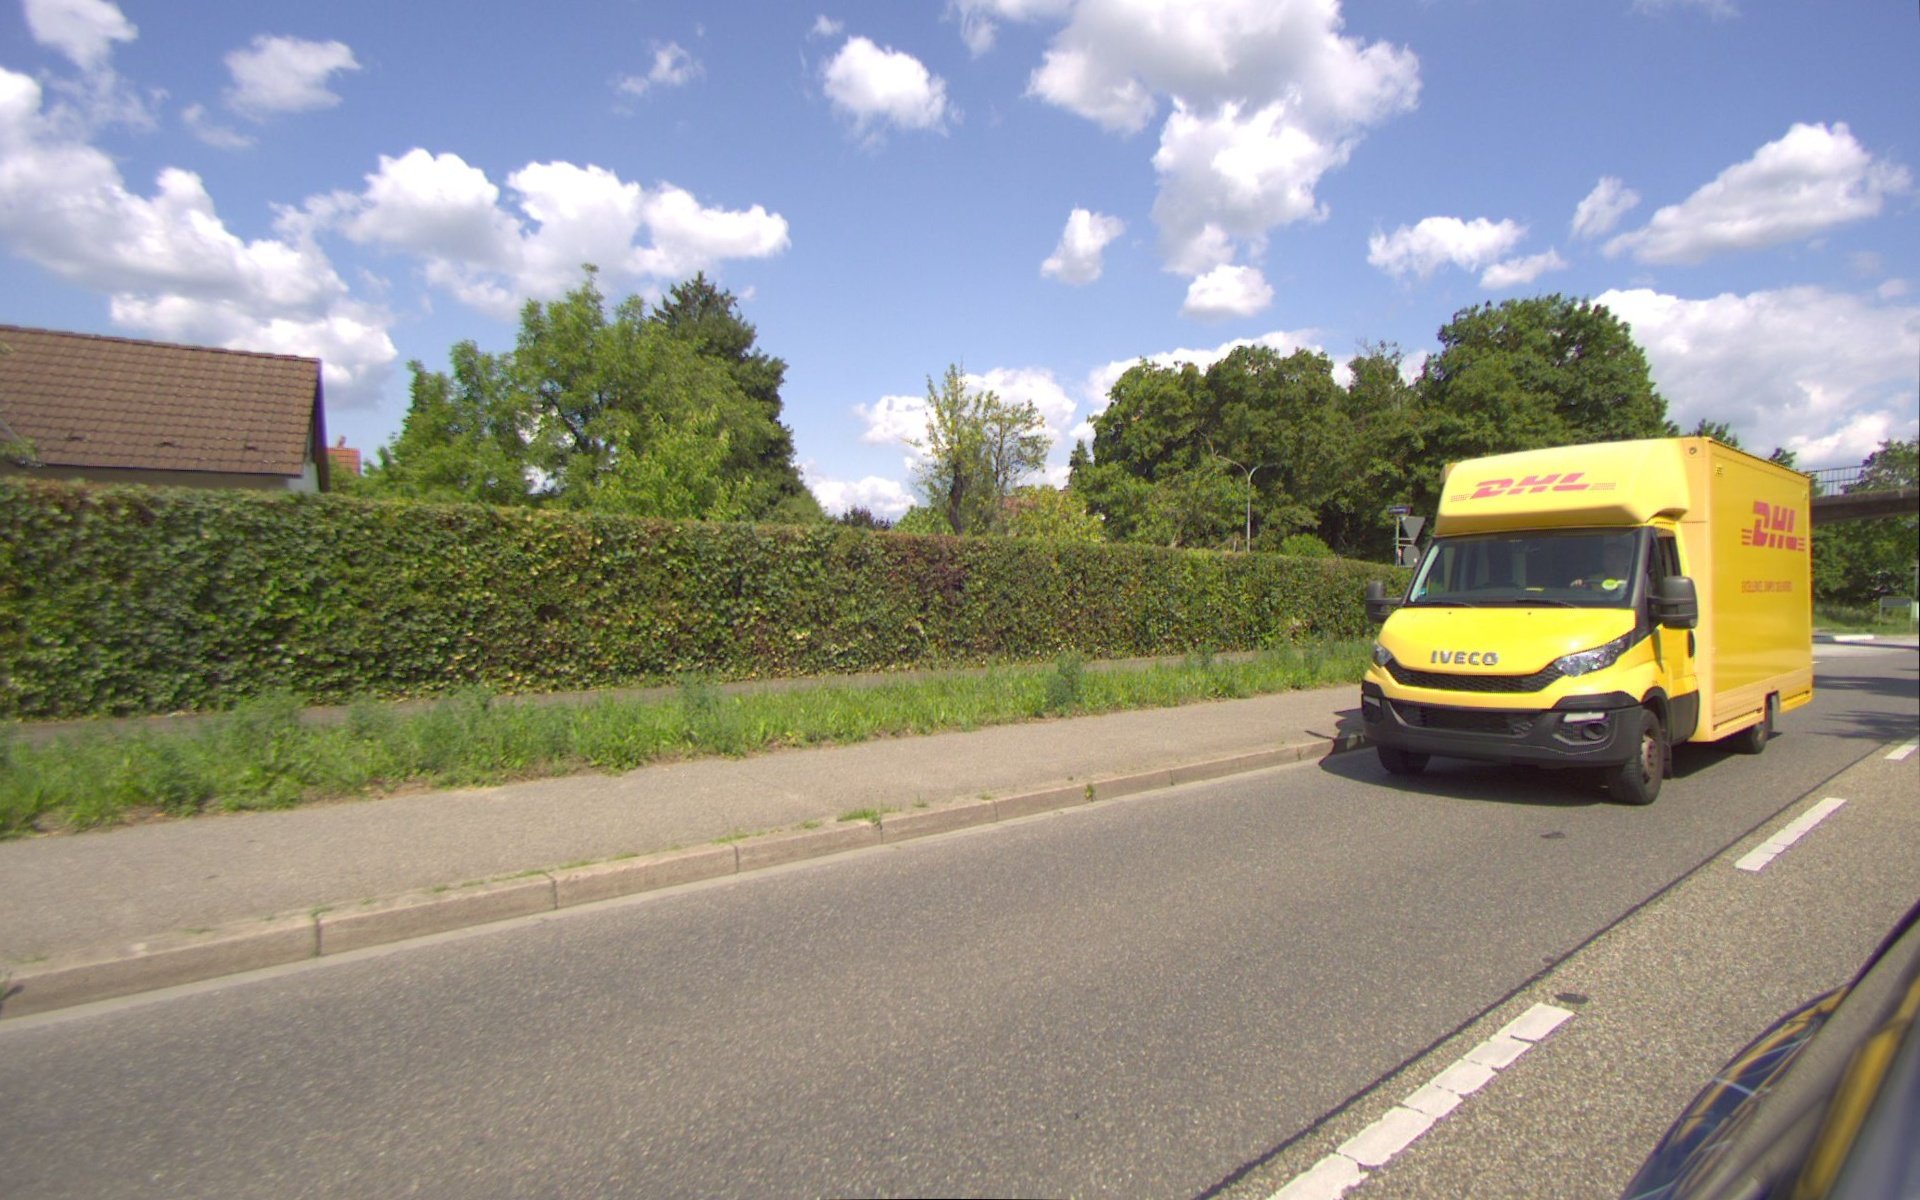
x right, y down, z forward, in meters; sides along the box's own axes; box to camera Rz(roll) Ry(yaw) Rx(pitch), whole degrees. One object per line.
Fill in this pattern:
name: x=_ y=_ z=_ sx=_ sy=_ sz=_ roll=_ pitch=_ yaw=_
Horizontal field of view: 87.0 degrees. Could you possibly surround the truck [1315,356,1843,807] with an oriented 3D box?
truck: x=6.585 y=-0.080 z=10.024 sx=7.888 sy=2.917 sz=2.268 roll=1 pitch=-1 yaw=-42
